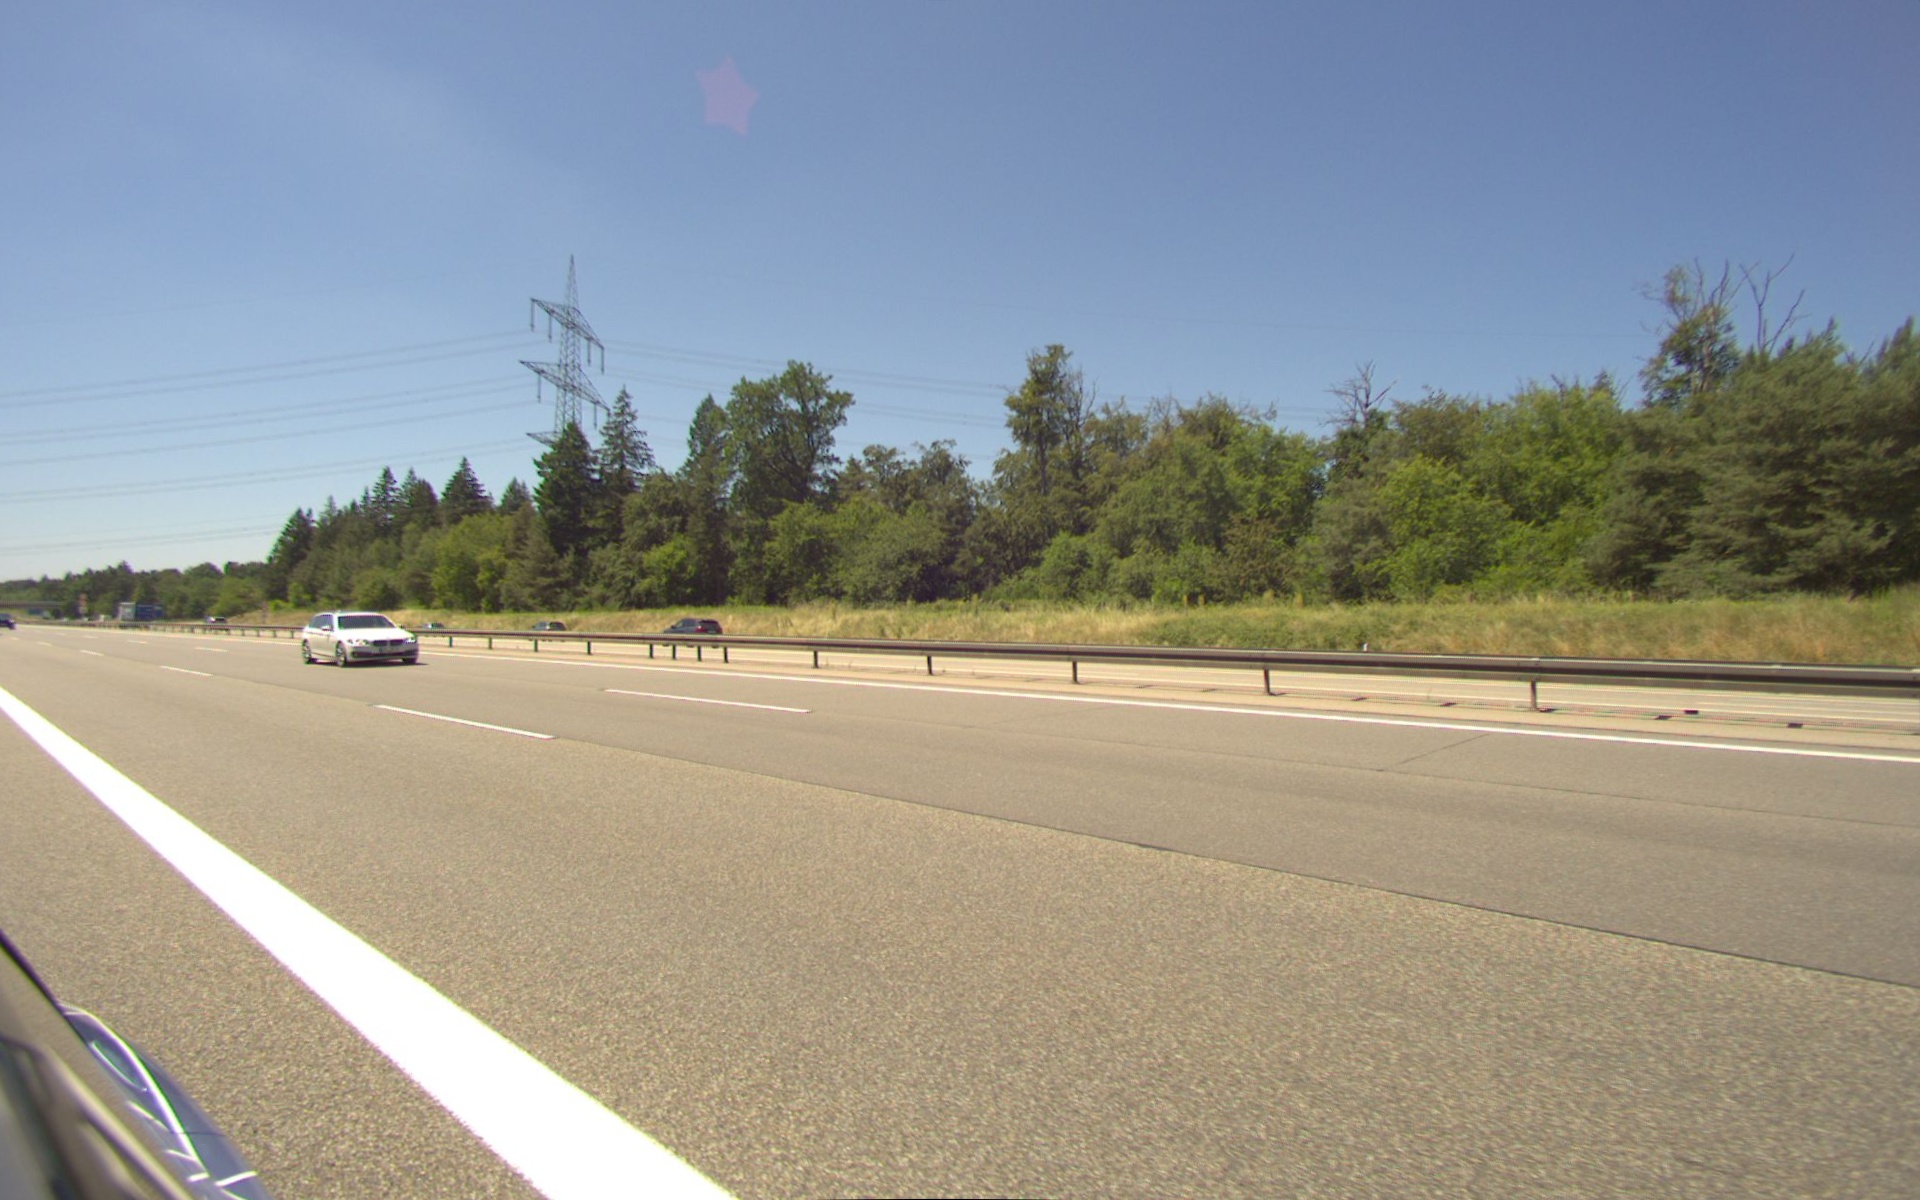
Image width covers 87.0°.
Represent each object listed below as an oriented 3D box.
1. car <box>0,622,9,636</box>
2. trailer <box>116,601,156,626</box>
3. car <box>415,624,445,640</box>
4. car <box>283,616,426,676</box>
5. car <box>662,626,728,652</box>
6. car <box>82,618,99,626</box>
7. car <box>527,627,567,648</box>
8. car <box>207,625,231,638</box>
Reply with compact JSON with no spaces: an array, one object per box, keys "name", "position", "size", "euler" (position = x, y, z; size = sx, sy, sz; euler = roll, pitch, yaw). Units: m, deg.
[{"name":"car","position":[-99.685,3.040,104.601],"size":[1.872,1.436,4.264],"euler":[-1,-1,-45]},{"name":"trailer","position":[-140.535,2.372,172.435],"size":[13.982,4.204,3.168],"euler":[-1,-3,43]},{"name":"car","position":[-52.083,3.133,99.433],"size":[3.567,1.488,1.603],"euler":[-1,-2,44]},{"name":"car","position":[-17.094,1.207,28.441],"size":[5.403,1.515,1.943],"euler":[-1,-1,42]},{"name":"car","position":[-15.789,2.280,60.220],"size":[4.437,1.431,1.769],"euler":[-1,-1,44]},{"name":"car","position":[-155.260,4.007,180.707],"size":[4.432,1.413,1.742],"euler":[-2,-3,42]},{"name":"car","position":[-32.439,2.917,79.472],"size":[1.540,1.539,4.004],"euler":[-1,0,-43]},{"name":"car","position":[-81.895,3.499,111.783],"size":[3.567,1.366,1.546],"euler":[-1,-2,44]}]
